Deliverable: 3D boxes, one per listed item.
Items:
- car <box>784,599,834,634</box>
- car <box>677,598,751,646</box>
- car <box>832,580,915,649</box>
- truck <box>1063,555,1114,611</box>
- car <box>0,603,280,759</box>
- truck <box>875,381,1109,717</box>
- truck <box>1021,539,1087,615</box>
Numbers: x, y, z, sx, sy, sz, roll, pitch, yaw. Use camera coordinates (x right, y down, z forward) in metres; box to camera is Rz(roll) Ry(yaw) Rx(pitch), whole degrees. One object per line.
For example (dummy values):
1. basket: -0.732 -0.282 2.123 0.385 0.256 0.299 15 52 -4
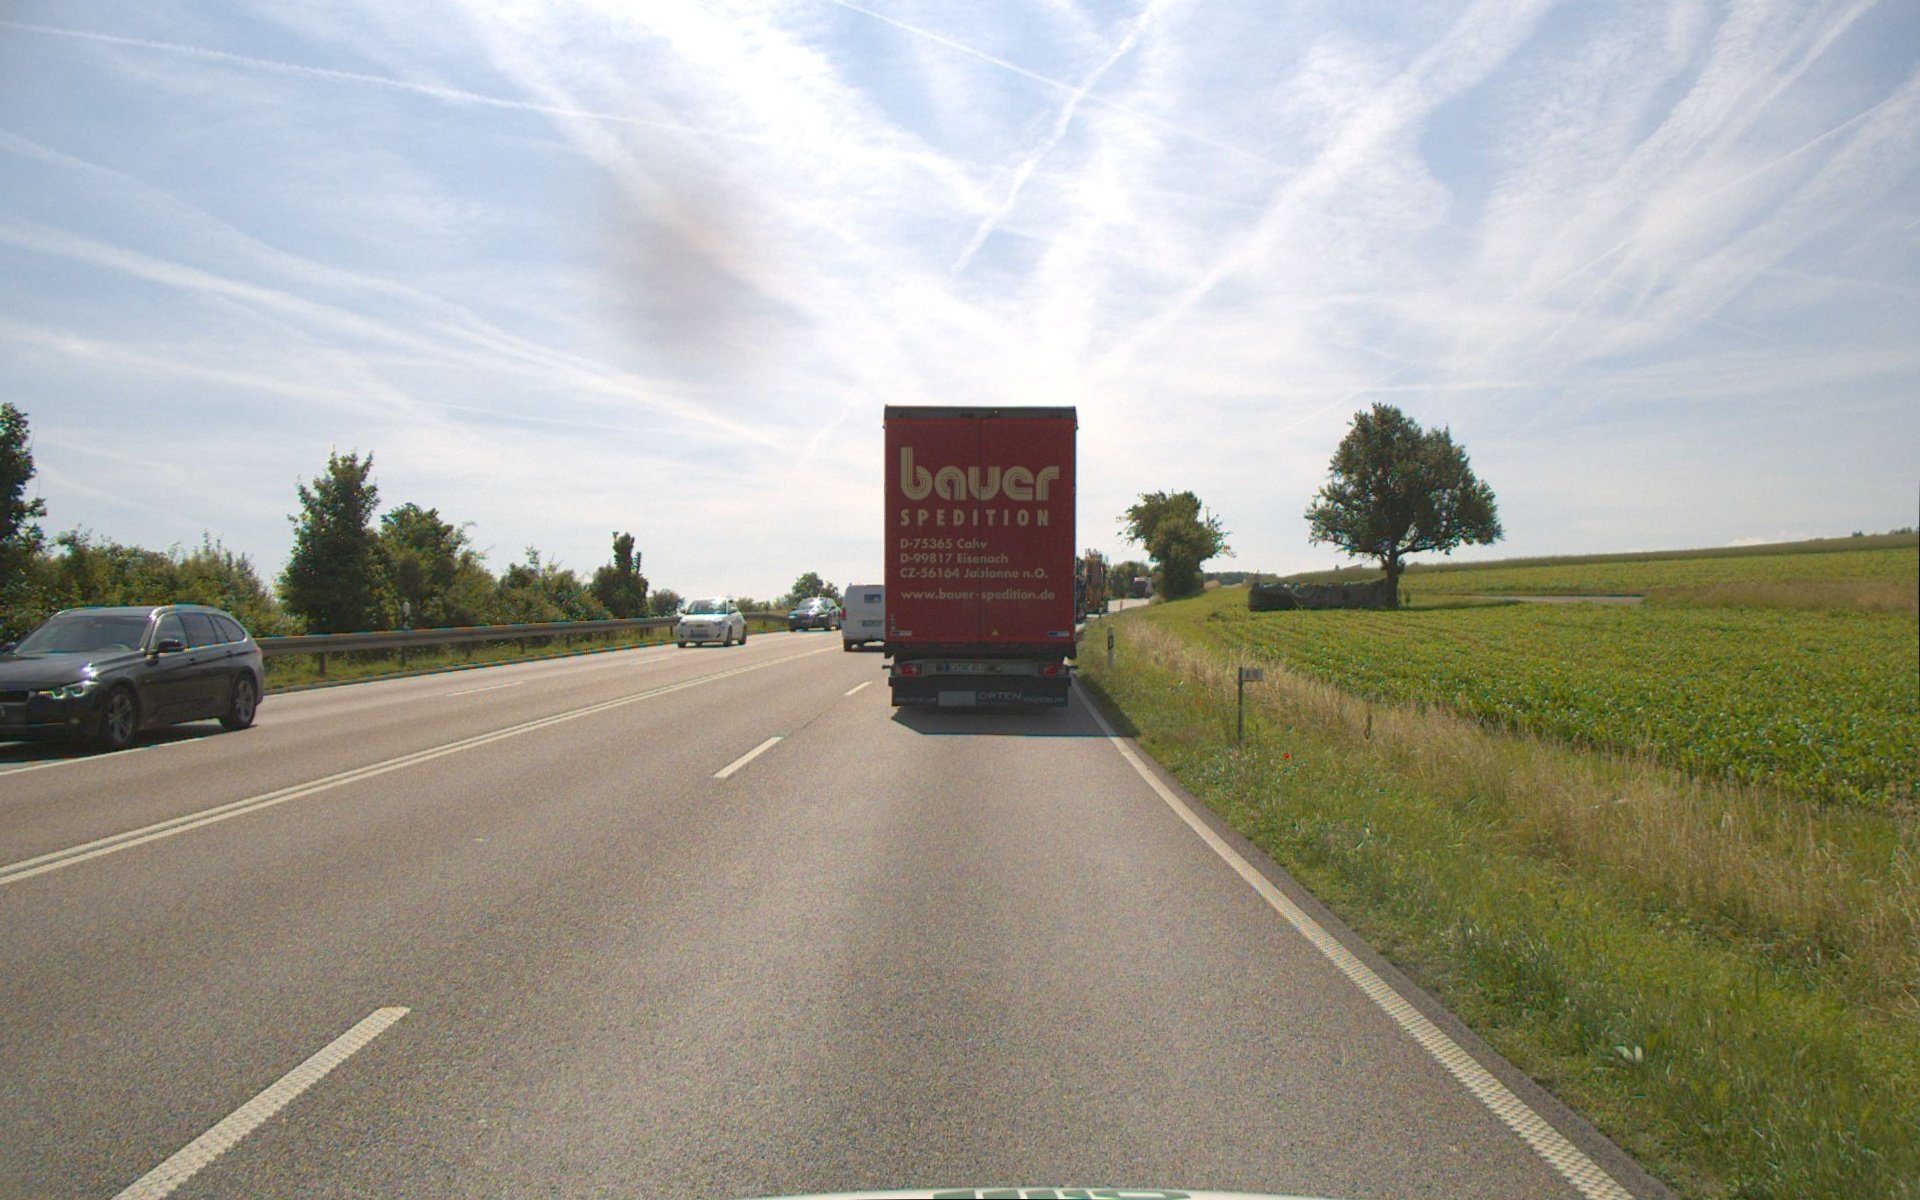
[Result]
1. car: -6.878 0.732 75.610 1.798 1.481 4.326 -1 0 1
2. car: -7.860 0.683 53.035 1.623 1.483 3.735 -1 0 3
3. car: -2.502 0.411 49.028 1.865 1.917 5.434 0 0 3
4. truck: 10.142 -1.255 128.618 2.982 3.978 18.412 -1 0 7
5. car: -9.158 0.789 18.071 1.682 1.487 4.215 -1 0 0
6. truck: 0.475 -0.661 29.393 2.945 4.253 16.714 0 0 0
7. truck: 5.530 -1.229 94.821 2.982 3.978 15.626 -1 0 6
